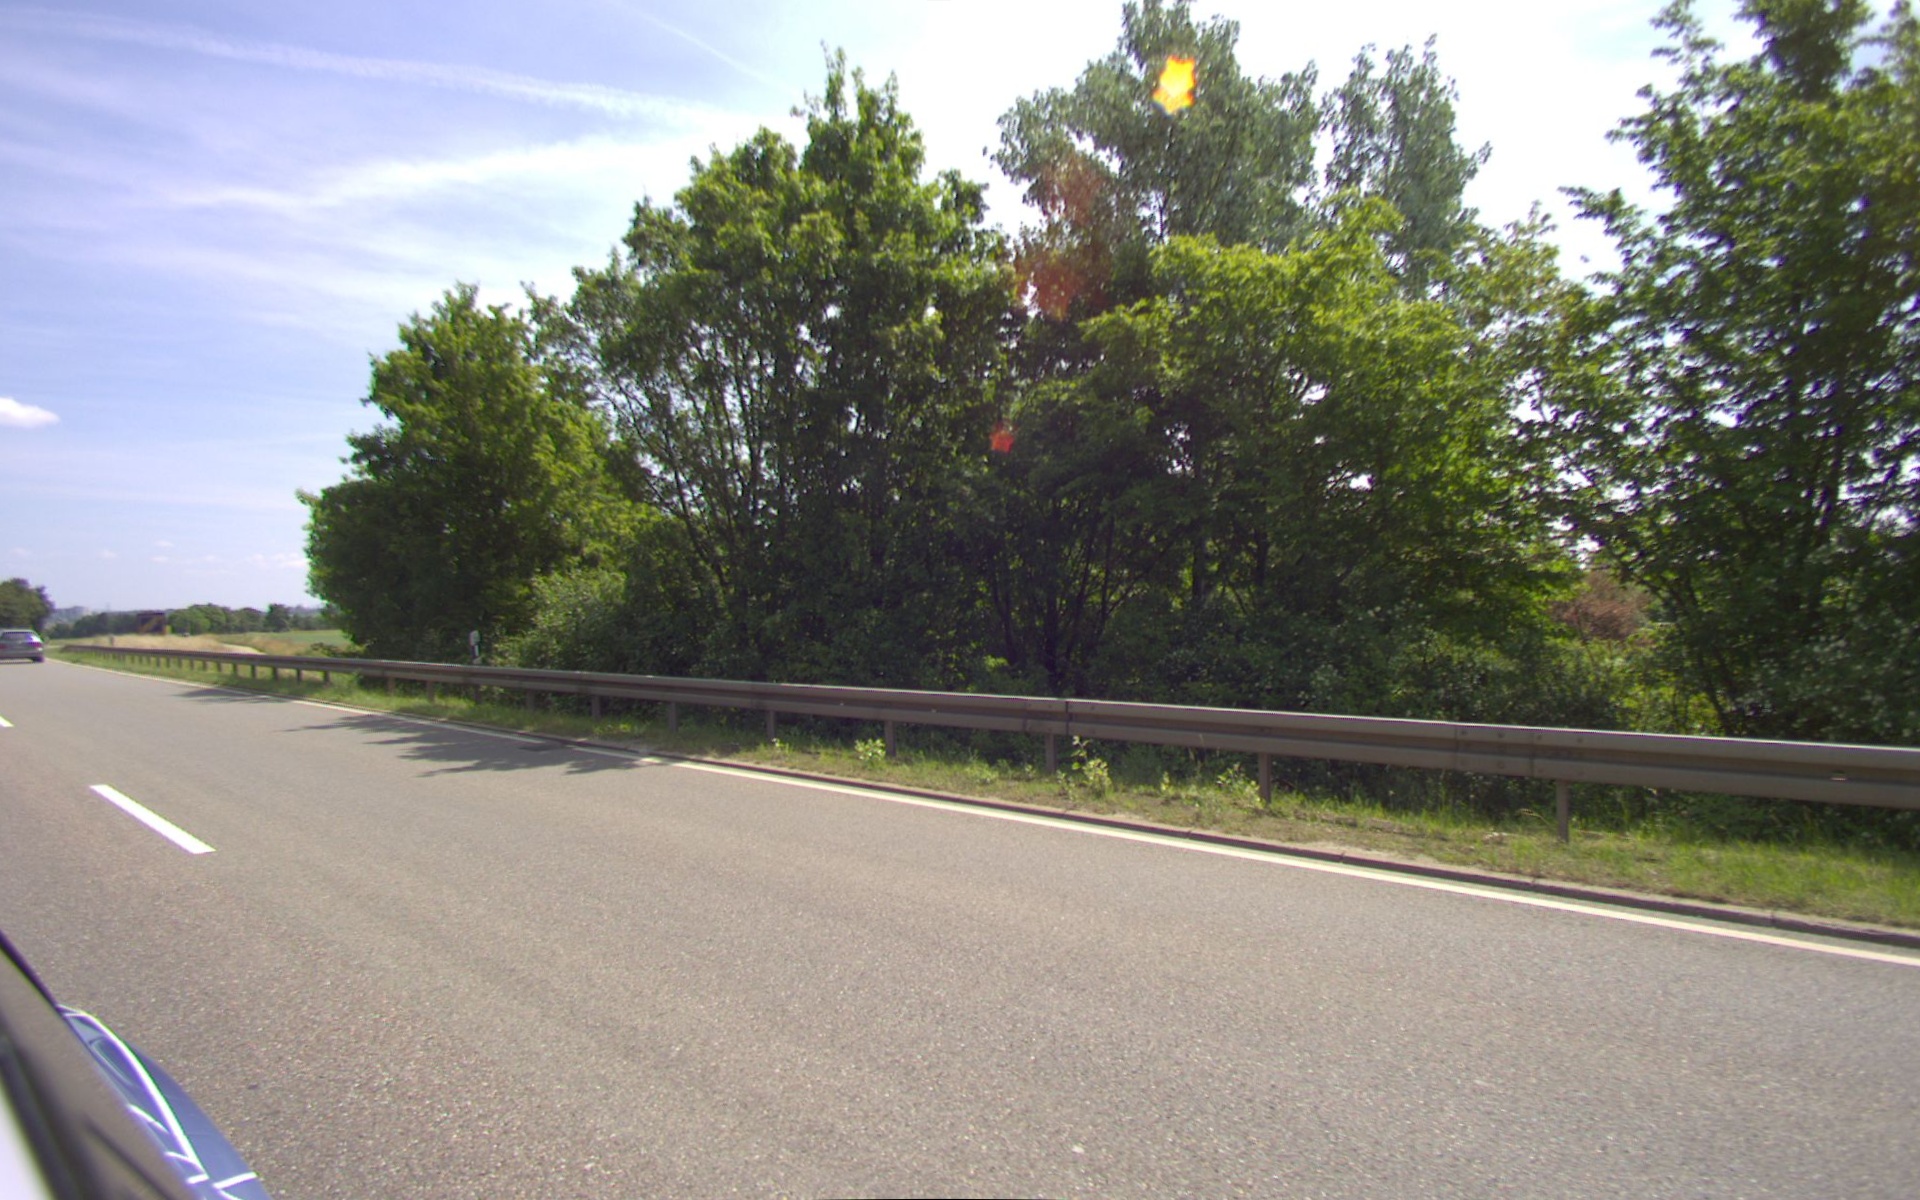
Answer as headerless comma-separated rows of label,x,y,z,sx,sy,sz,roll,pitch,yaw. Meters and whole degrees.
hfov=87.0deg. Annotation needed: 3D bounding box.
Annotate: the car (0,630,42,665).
car,-42.641,2.095,45.432,5.128,1.478,1.724,-2,-2,43
